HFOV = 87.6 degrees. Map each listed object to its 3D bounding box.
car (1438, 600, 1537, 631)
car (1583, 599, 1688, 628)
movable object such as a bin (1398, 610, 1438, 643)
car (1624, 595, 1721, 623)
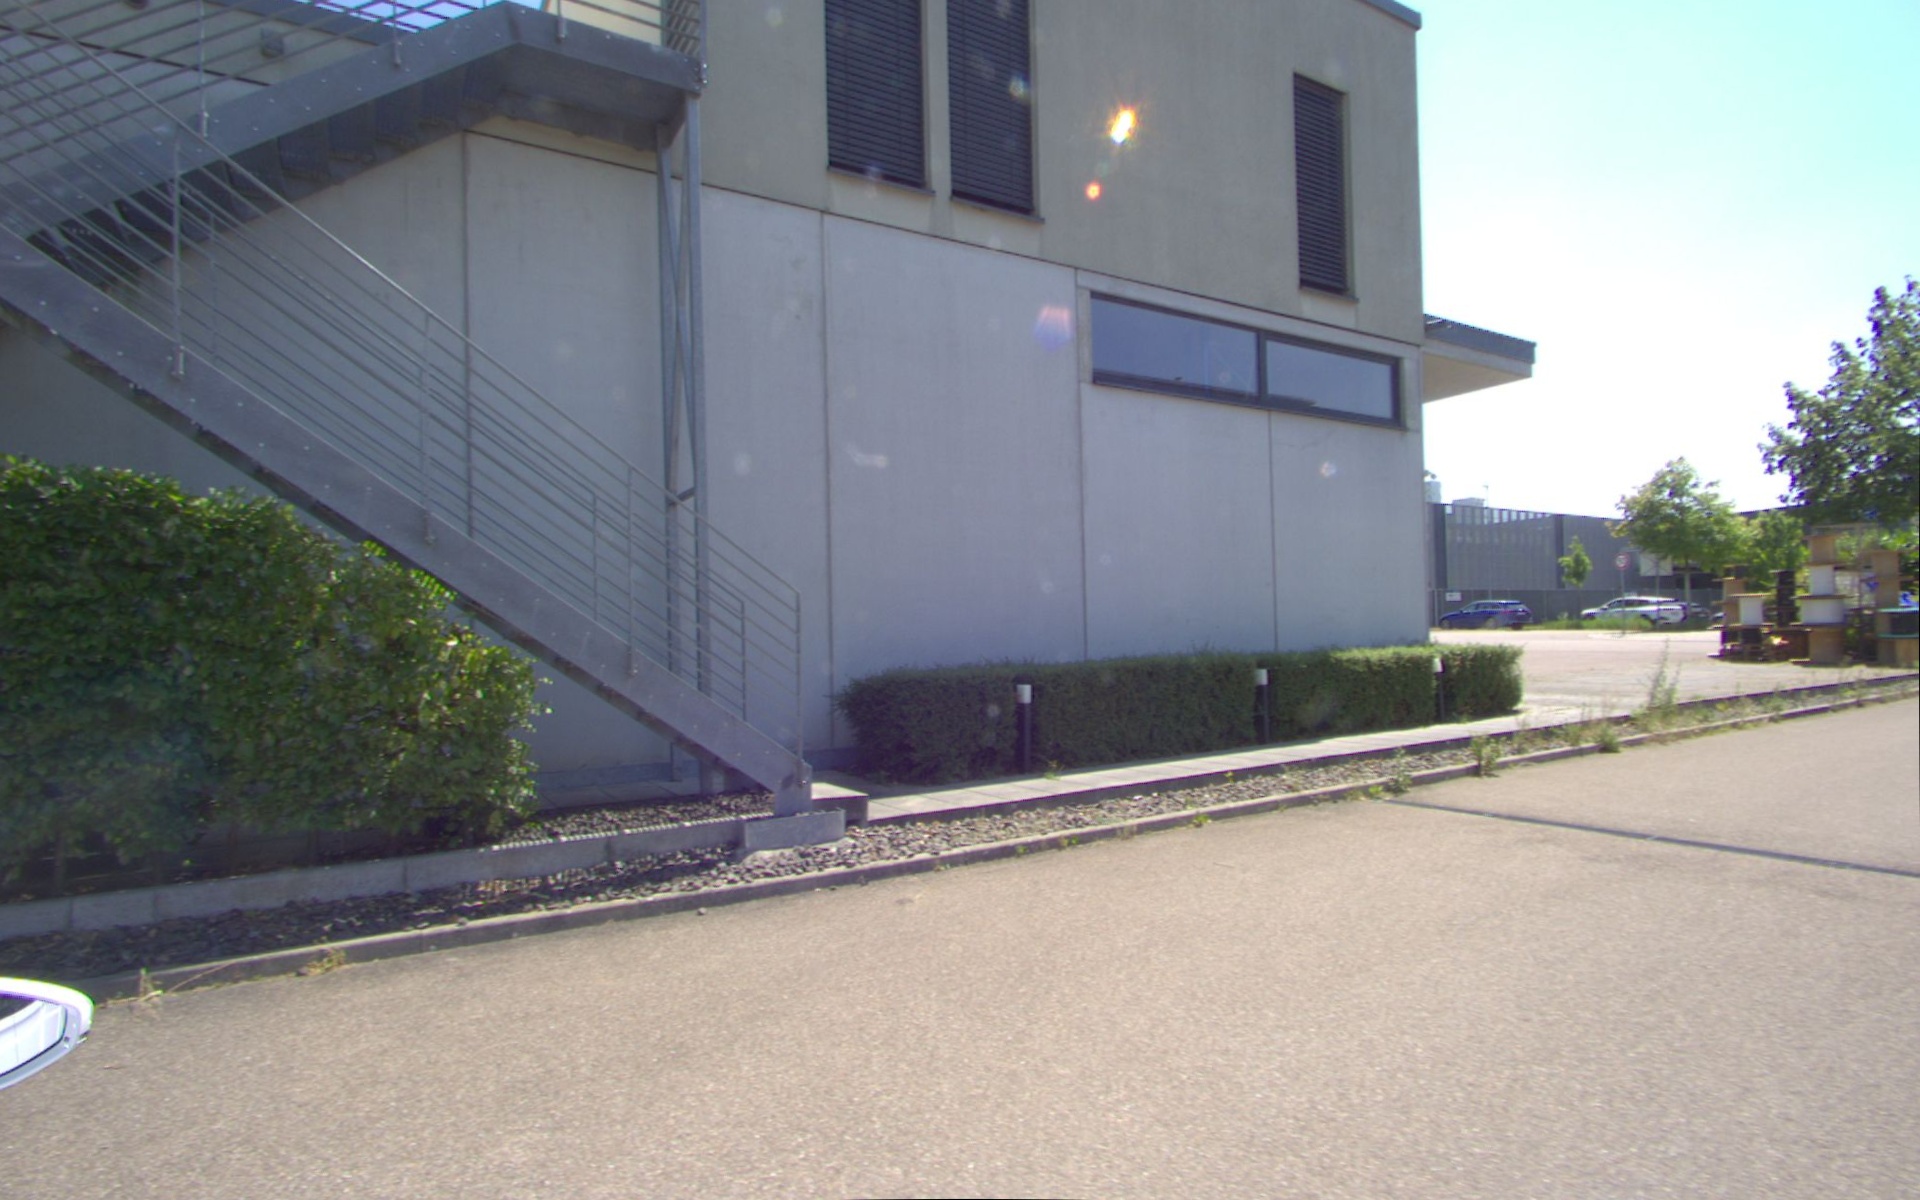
[{"bbox_3d":[26.017,0.795,49.547,1.719,1.433,4.440,1,-2,-17],"label":"car"},{"bbox_3d":[35.323,0.729,52.517,1.719,1.433,4.439,1,-2,-19],"label":"car"},{"bbox_3d":[13.968,0.815,30.541,0.799,0.993,0.813,0,-1,-32],"label":"movable object such as a bin"},{"bbox_3d":[38.124,0.517,53.694,1.719,1.433,4.058,1,-2,-19],"label":"car"}]
